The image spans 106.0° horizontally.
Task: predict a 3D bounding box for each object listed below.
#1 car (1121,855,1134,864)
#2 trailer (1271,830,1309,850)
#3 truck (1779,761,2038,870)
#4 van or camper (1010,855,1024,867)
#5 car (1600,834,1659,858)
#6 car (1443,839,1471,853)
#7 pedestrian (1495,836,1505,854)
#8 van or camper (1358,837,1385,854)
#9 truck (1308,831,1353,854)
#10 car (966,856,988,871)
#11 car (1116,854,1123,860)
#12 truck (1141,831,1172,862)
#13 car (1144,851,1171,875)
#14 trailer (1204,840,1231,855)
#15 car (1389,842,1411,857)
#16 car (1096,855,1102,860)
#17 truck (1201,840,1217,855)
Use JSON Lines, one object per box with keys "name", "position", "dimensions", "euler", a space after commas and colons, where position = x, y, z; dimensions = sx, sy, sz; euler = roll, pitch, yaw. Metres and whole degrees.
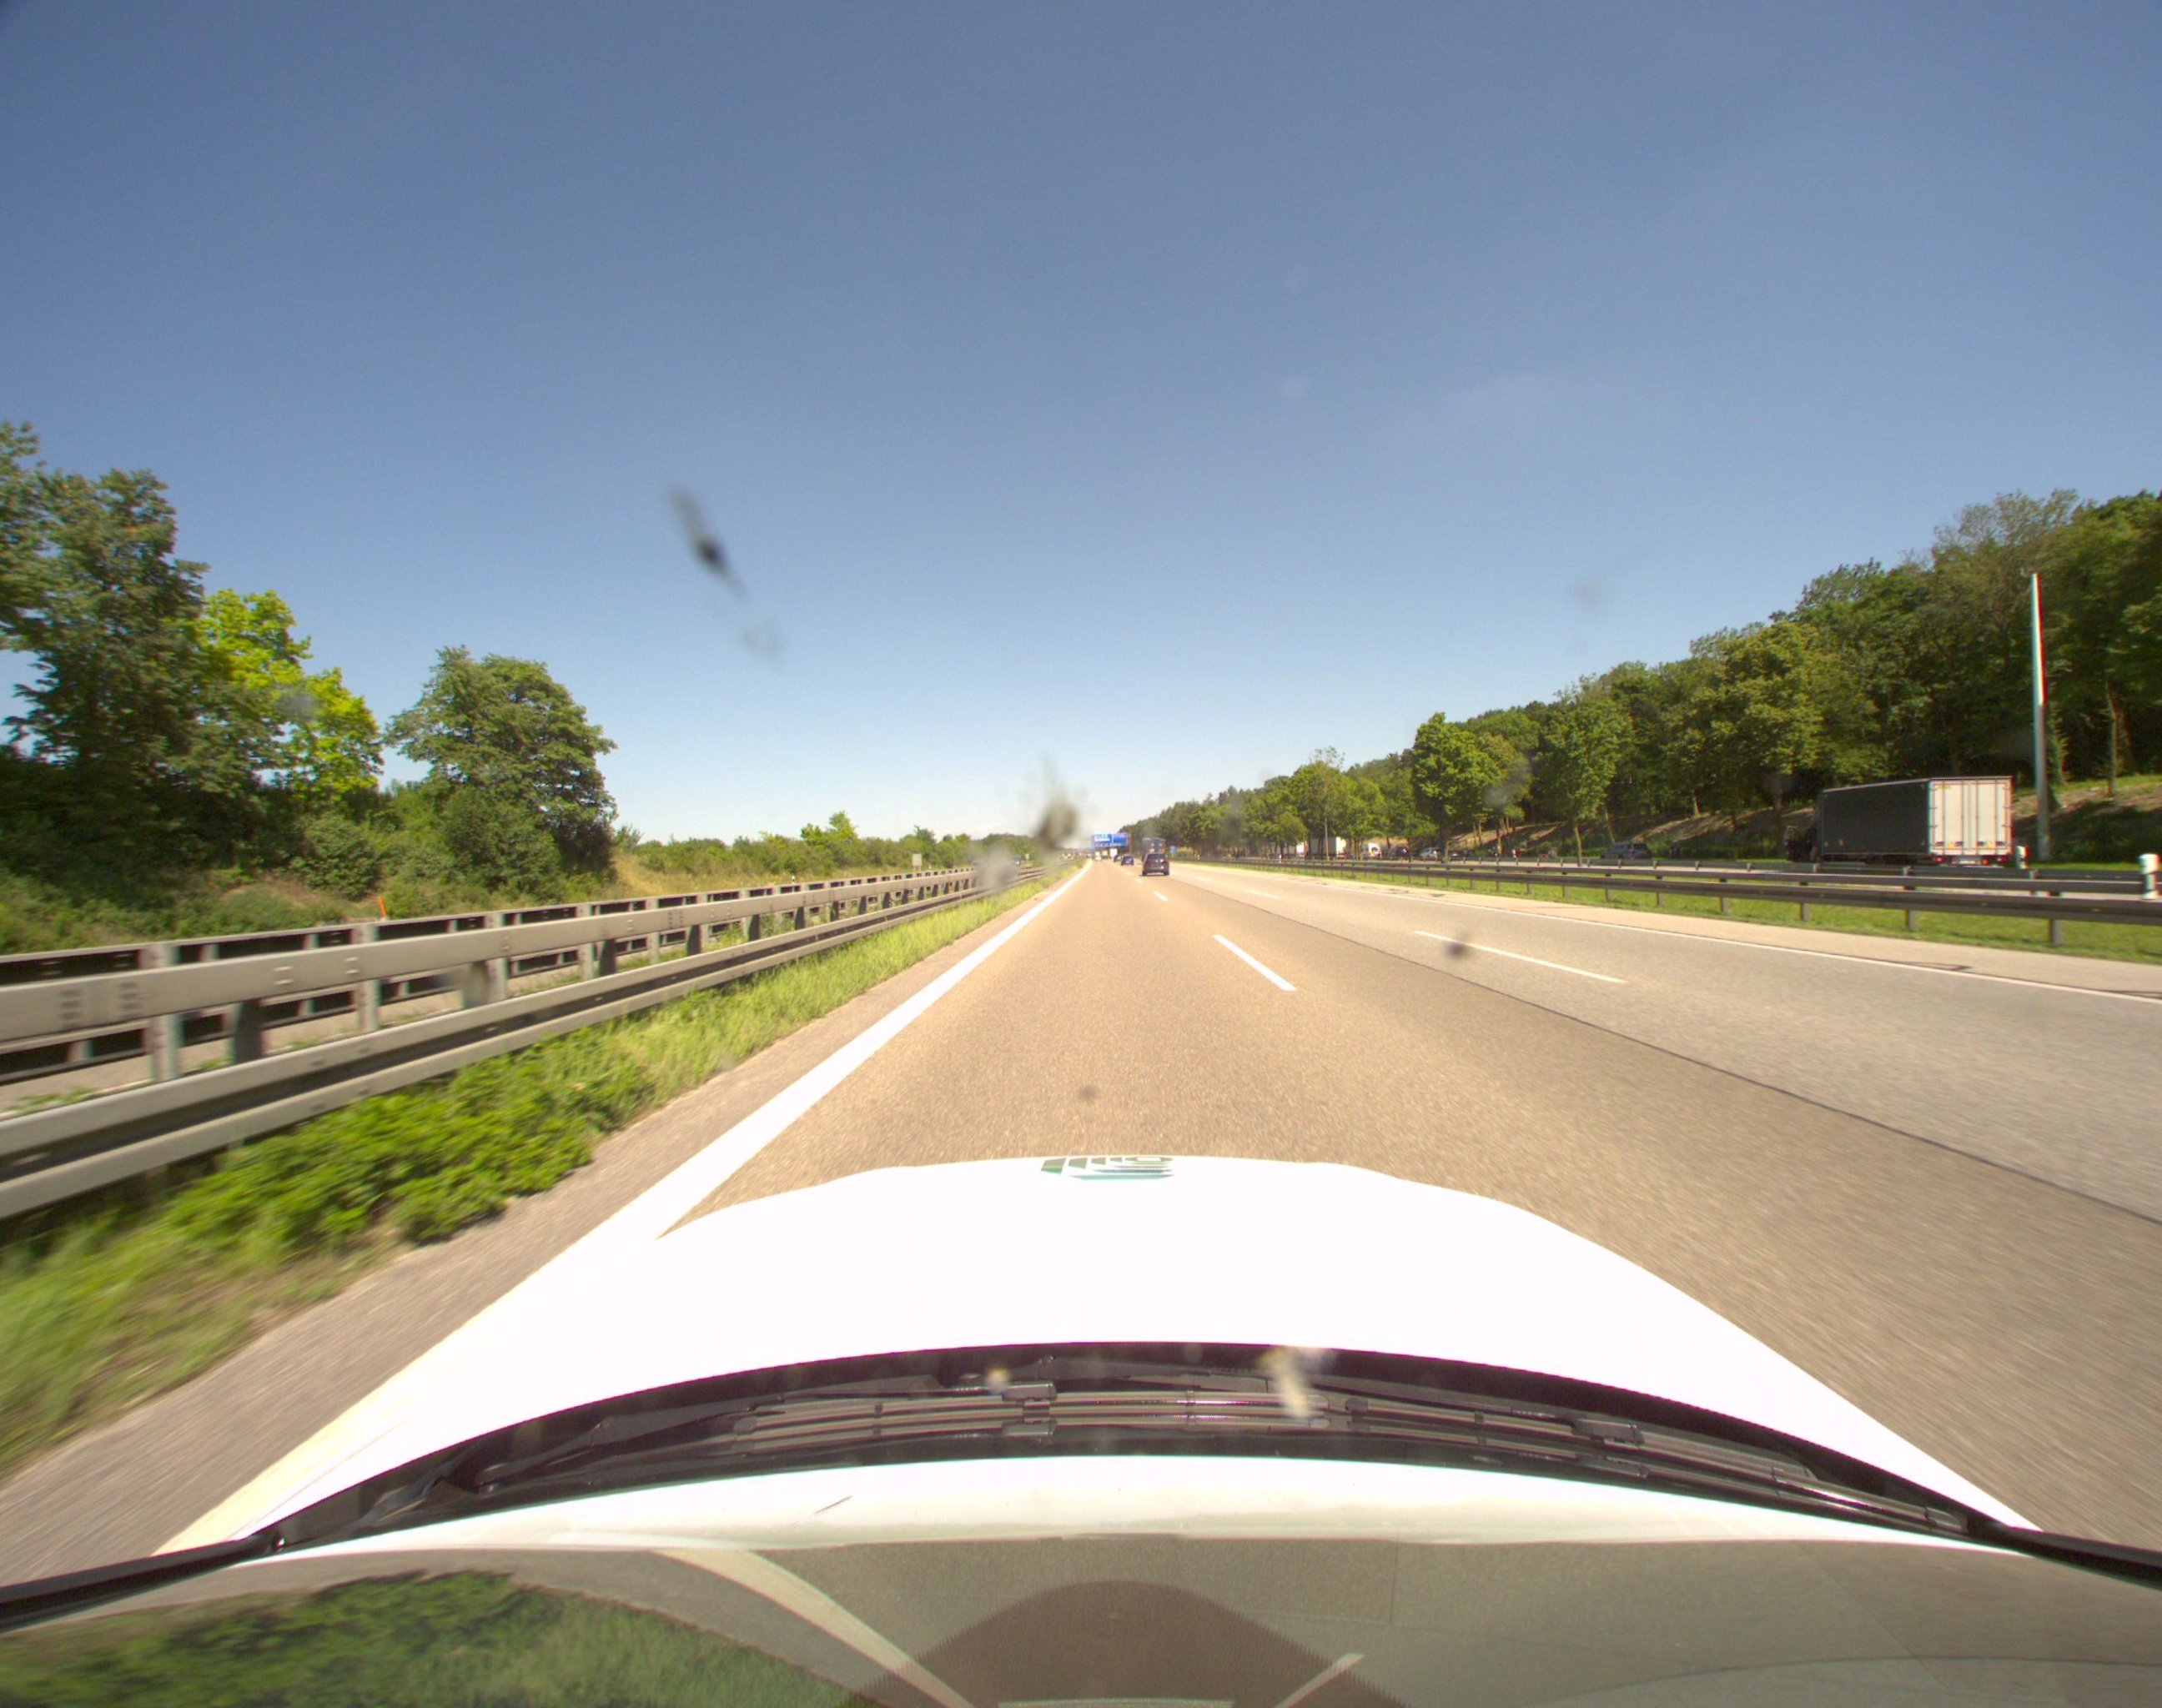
{"name": "car", "position": [6.610, 0.815, 115.951], "dimensions": [1.702, 1.155, 3.691], "euler": [-2, 0, 2]}
{"name": "trailer", "position": [43.013, -2.751, 168.427], "dimensions": [2.854, 3.796, 14.161], "euler": [-2, 0, -6]}
{"name": "truck", "position": [35.206, -1.514, 35.410], "dimensions": [3.263, 3.947, 9.383], "euler": [-3, 0, 13]}
{"name": "van or camper", "position": [-13.006, 1.420, 165.516], "dimensions": [1.986, 2.392, 6.243], "euler": [-3, 0, 1]}
{"name": "car", "position": [39.741, -0.587, 59.114], "dimensions": [1.981, 1.651, 4.331], "euler": [-3, 0, 11]}
{"name": "car", "position": [44.822, -0.963, 97.099], "dimensions": [1.981, 1.574, 4.011], "euler": [-2, 0, 10]}
{"name": "pedestrian", "position": [43.532, -0.961, 84.568], "dimensions": [0.792, 1.782, 0.645], "euler": [-2, 0, 14]}
{"name": "van or camper", "position": [45.067, -1.246, 126.360], "dimensions": [2.195, 2.530, 5.878], "euler": [-2, 0, 2]}
{"name": "truck", "position": [44.936, -1.990, 147.344], "dimensions": [2.989, 3.931, 14.444], "euler": [-2, 0, -3]}
{"name": "car", "position": [-13.741, 1.248, 107.929], "dimensions": [1.986, 1.835, 5.335], "euler": [-5, 0, 2]}
{"name": "car", "position": [8.359, 0.620, 175.177], "dimensions": [1.465, 1.398, 3.412], "euler": [0, 0, 2]}
{"name": "truck", "position": [11.465, -1.148, 124.777], "dimensions": [3.766, 4.422, 14.056], "euler": [-2, 0, 2]}
{"name": "car", "position": [5.436, 0.607, 58.256], "dimensions": [1.791, 1.669, 4.263], "euler": [-1, 0, 4]}
{"name": "trailer", "position": [35.630, -1.630, 213.017], "dimensions": [2.573, 3.915, 12.697], "euler": [-2, 0, -12]}
{"name": "car", "position": [44.485, -0.617, 113.654], "dimensions": [1.648, 1.877, 4.808], "euler": [-2, 0, 6]}
{"name": "car", "position": [4.849, 0.887, 216.745], "dimensions": [1.465, 1.227, 3.412], "euler": [-2, 0, 2]}
{"name": "truck", "position": [34.374, -1.613, 219.027], "dimensions": [2.573, 3.915, 4.846], "euler": [-2, 0, -12]}
